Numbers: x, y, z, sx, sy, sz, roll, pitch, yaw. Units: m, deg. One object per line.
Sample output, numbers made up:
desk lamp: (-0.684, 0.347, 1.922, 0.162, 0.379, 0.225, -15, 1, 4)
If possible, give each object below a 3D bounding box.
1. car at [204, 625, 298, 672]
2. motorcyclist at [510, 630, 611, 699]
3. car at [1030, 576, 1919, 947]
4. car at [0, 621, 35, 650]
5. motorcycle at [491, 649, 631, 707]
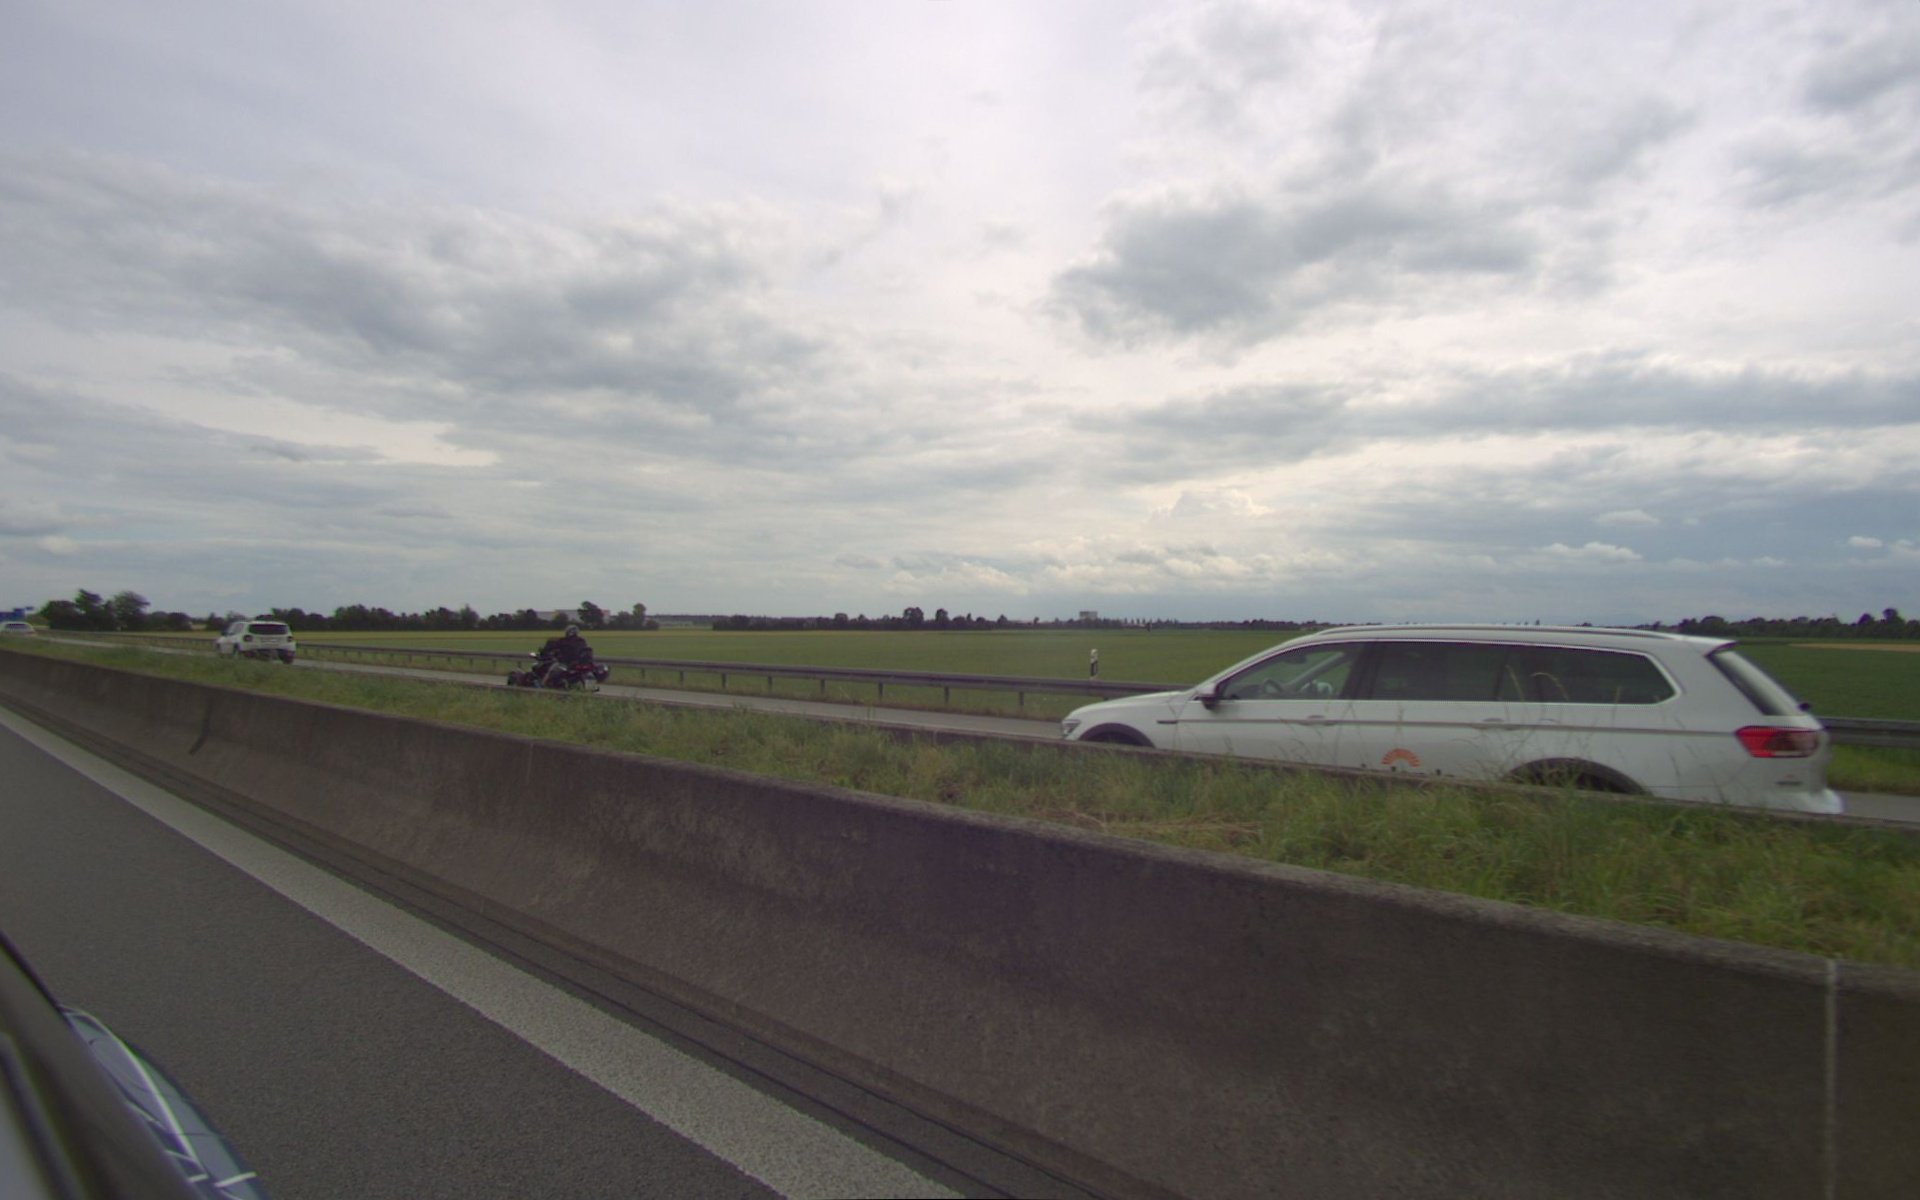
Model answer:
car: (-26.902, 1.818, 38.337, 4.689, 1.639, 1.816, -1, -3, 41)
motorcyclist: (-8.474, 1.349, 21.484, 1.252, 1.382, 1.550, -1, -3, 41)
car: (3.005, 0.768, 6.542, 4.987, 1.586, 1.846, -1, -3, 41)
car: (-57.909, 2.147, 61.473, 5.172, 1.707, 1.927, -1, -3, 41)
motorcycle: (-8.490, 1.617, 21.477, 2.981, 1.086, 1.550, -1, -3, 41)
